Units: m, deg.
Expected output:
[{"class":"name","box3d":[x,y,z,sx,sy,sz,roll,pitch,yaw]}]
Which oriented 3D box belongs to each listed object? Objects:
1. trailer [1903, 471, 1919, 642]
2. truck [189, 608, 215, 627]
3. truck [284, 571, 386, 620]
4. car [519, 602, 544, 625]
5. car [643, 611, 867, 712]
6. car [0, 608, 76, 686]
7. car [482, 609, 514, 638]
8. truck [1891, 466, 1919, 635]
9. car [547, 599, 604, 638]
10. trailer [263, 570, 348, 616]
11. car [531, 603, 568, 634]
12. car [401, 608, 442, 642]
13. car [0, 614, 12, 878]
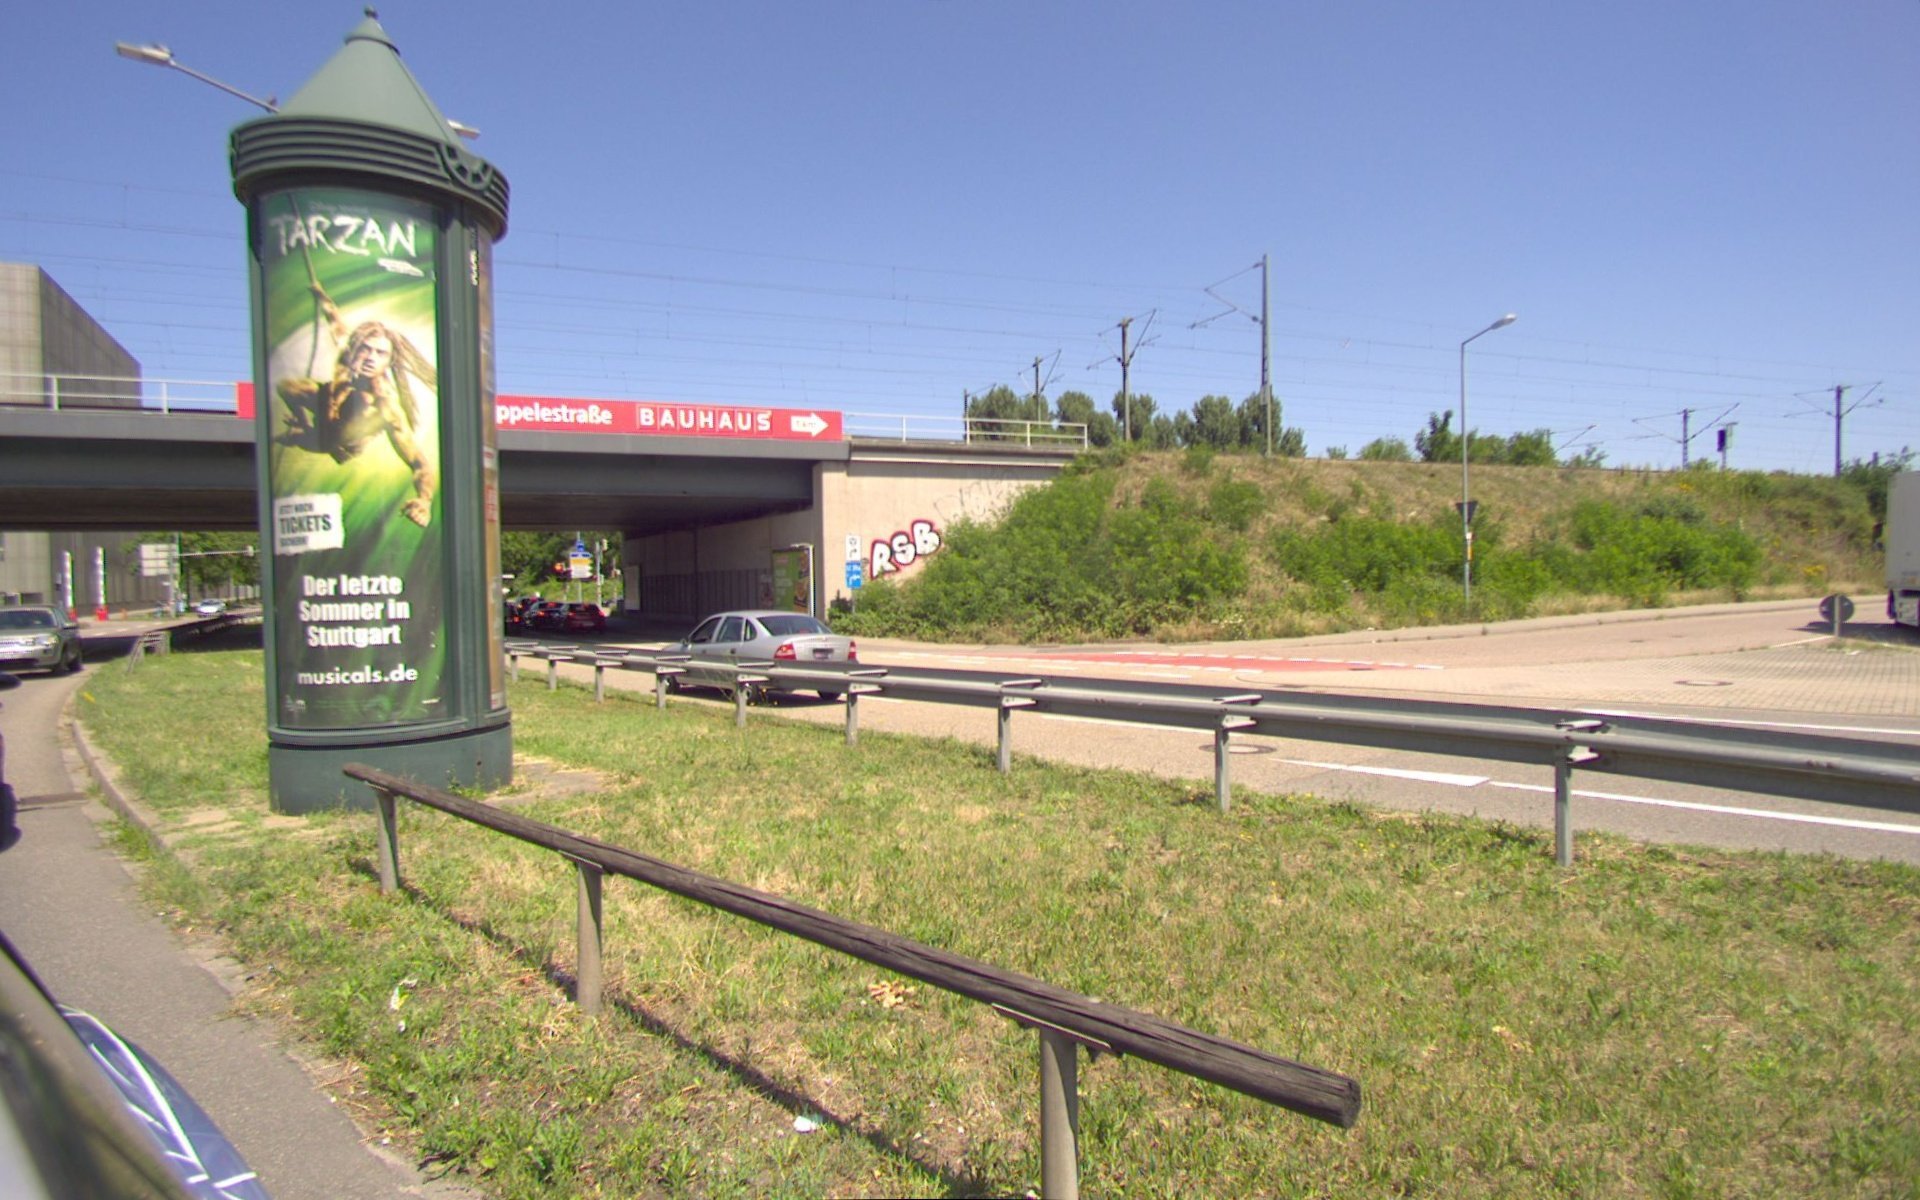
[{"class":"trailer","box3d":[22.819,-1.134,18.080,2.993,4.081,12.641,-2,-1,15]},{"class":"truck","box3d":[-64.270,1.440,85.822,1.704,1.513,4.009,-1,0,-36]},{"class":"truck","box3d":[-45.872,-0.328,74.302,6.516,3.443,3.003,-1,0,20]},{"class":"car","box3d":[-24.379,0.749,57.535,1.166,1.257,2.701,-1,0,-25]},{"class":"car","box3d":[-3.413,0.893,16.285,1.614,1.413,4.227,1,-1,-42]},{"class":"car","box3d":[-22.236,1.065,23.919,1.817,1.708,3.707,-1,0,-38]},{"class":"car","box3d":[-20.519,1.037,44.965,1.250,1.194,2.787,-1,0,-25]},{"class":"truck","box3d":[24.559,-1.194,24.240,2.547,4.052,6.194,-1,0,36]},{"class":"car","box3d":[-17.779,0.821,46.704,1.747,1.680,4.027,-1,0,-31]},{"class":"trailer","box3d":[-51.588,-0.466,79.460,2.921,3.398,13.904,-1,0,-44]},{"class":"car","box3d":[-21.045,0.931,51.841,1.548,1.514,3.418,-1,0,-25]},{"class":"car","box3d":[-23.004,1.041,43.275,1.389,1.329,3.272,-1,0,-26]},{"class":"car","box3d":[-7.201,0.822,6.335,4.057,1.428,1.658,-1,0,44]}]
